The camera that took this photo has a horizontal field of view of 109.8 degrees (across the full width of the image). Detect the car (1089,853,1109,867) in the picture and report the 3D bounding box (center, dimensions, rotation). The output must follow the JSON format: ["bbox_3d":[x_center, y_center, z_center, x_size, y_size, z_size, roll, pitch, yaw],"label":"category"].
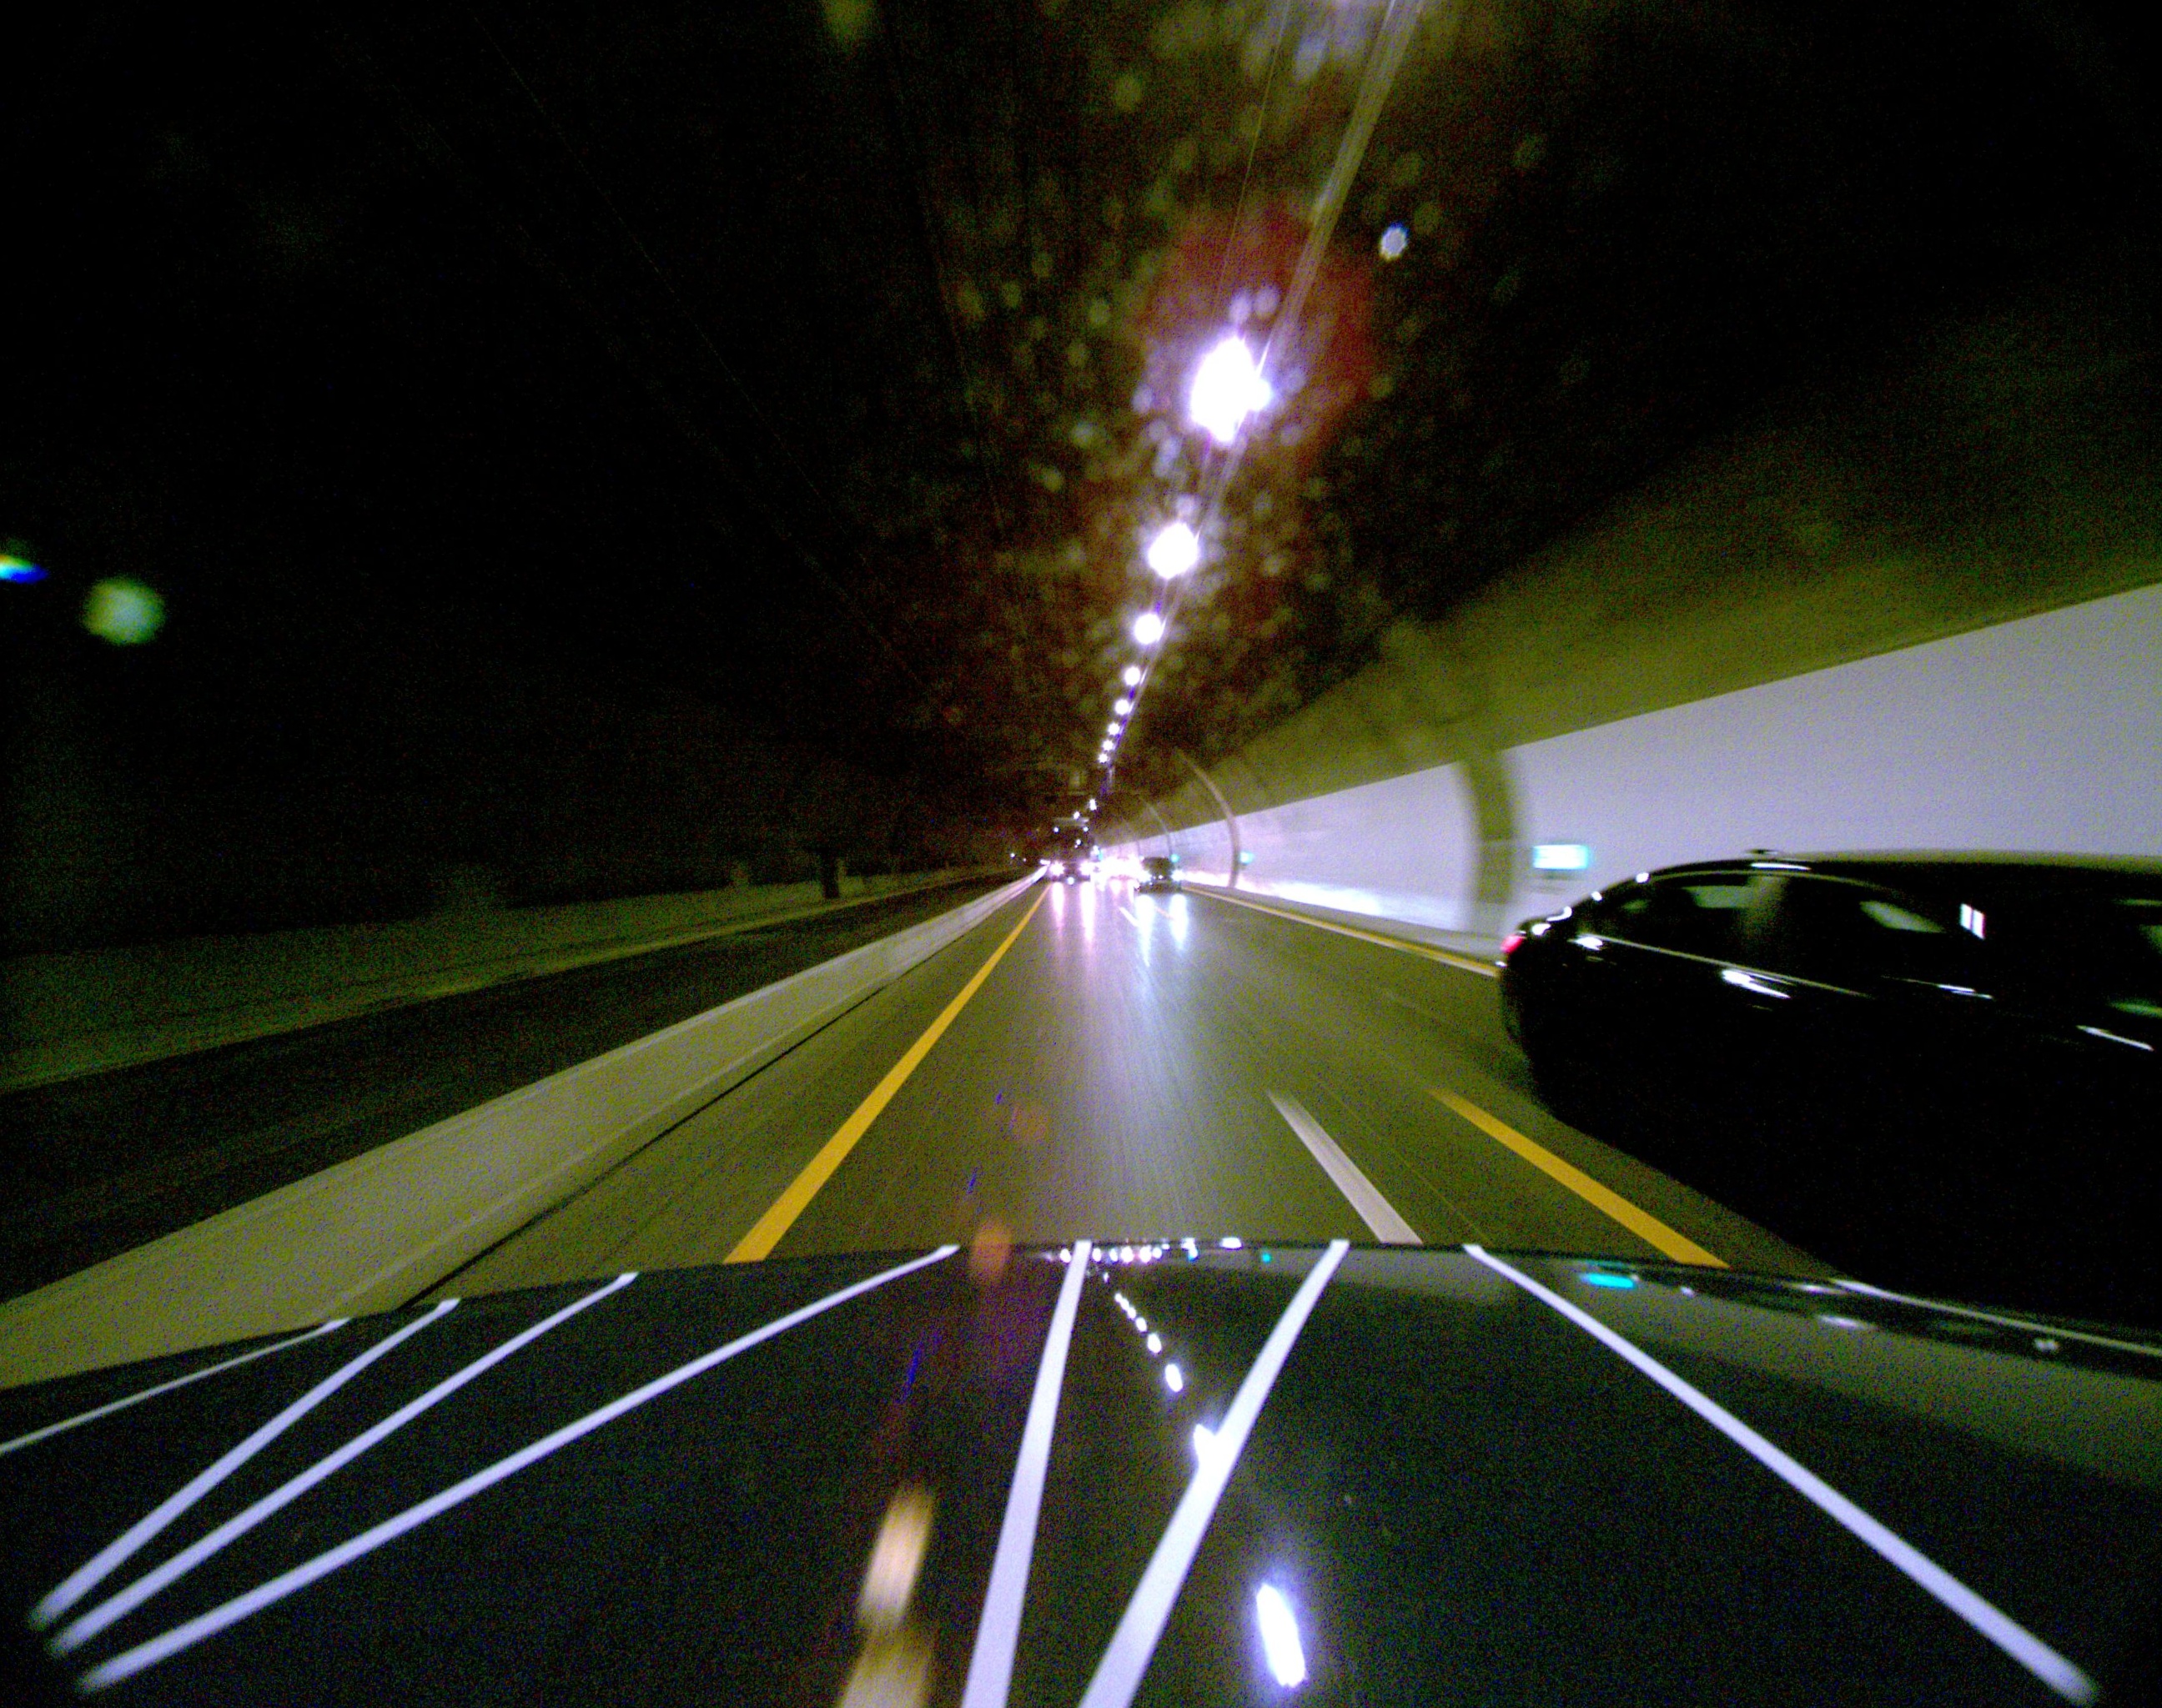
[{"bbox_3d":[1.943,0.662,83.772,1.909,1.412,4.060,-2,0,-1],"label":"car"}]

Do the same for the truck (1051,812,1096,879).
[{"bbox_3d":[-0.484,-0.519,51.919,2.742,4.127,8.099,-2,0,0],"label":"truck"}]

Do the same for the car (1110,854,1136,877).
[{"bbox_3d":[2.867,0.770,52.457,1.531,1.508,2.651,-2,0,-1],"label":"car"}]

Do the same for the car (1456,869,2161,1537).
[{"bbox_3d":[3.372,0.844,2.482,1.782,1.430,4.882,-2,0,-1],"label":"car"}]

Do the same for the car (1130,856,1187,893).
[{"bbox_3d":[3.258,0.821,32.939,1.783,1.430,4.882,-2,0,-2],"label":"car"}]
